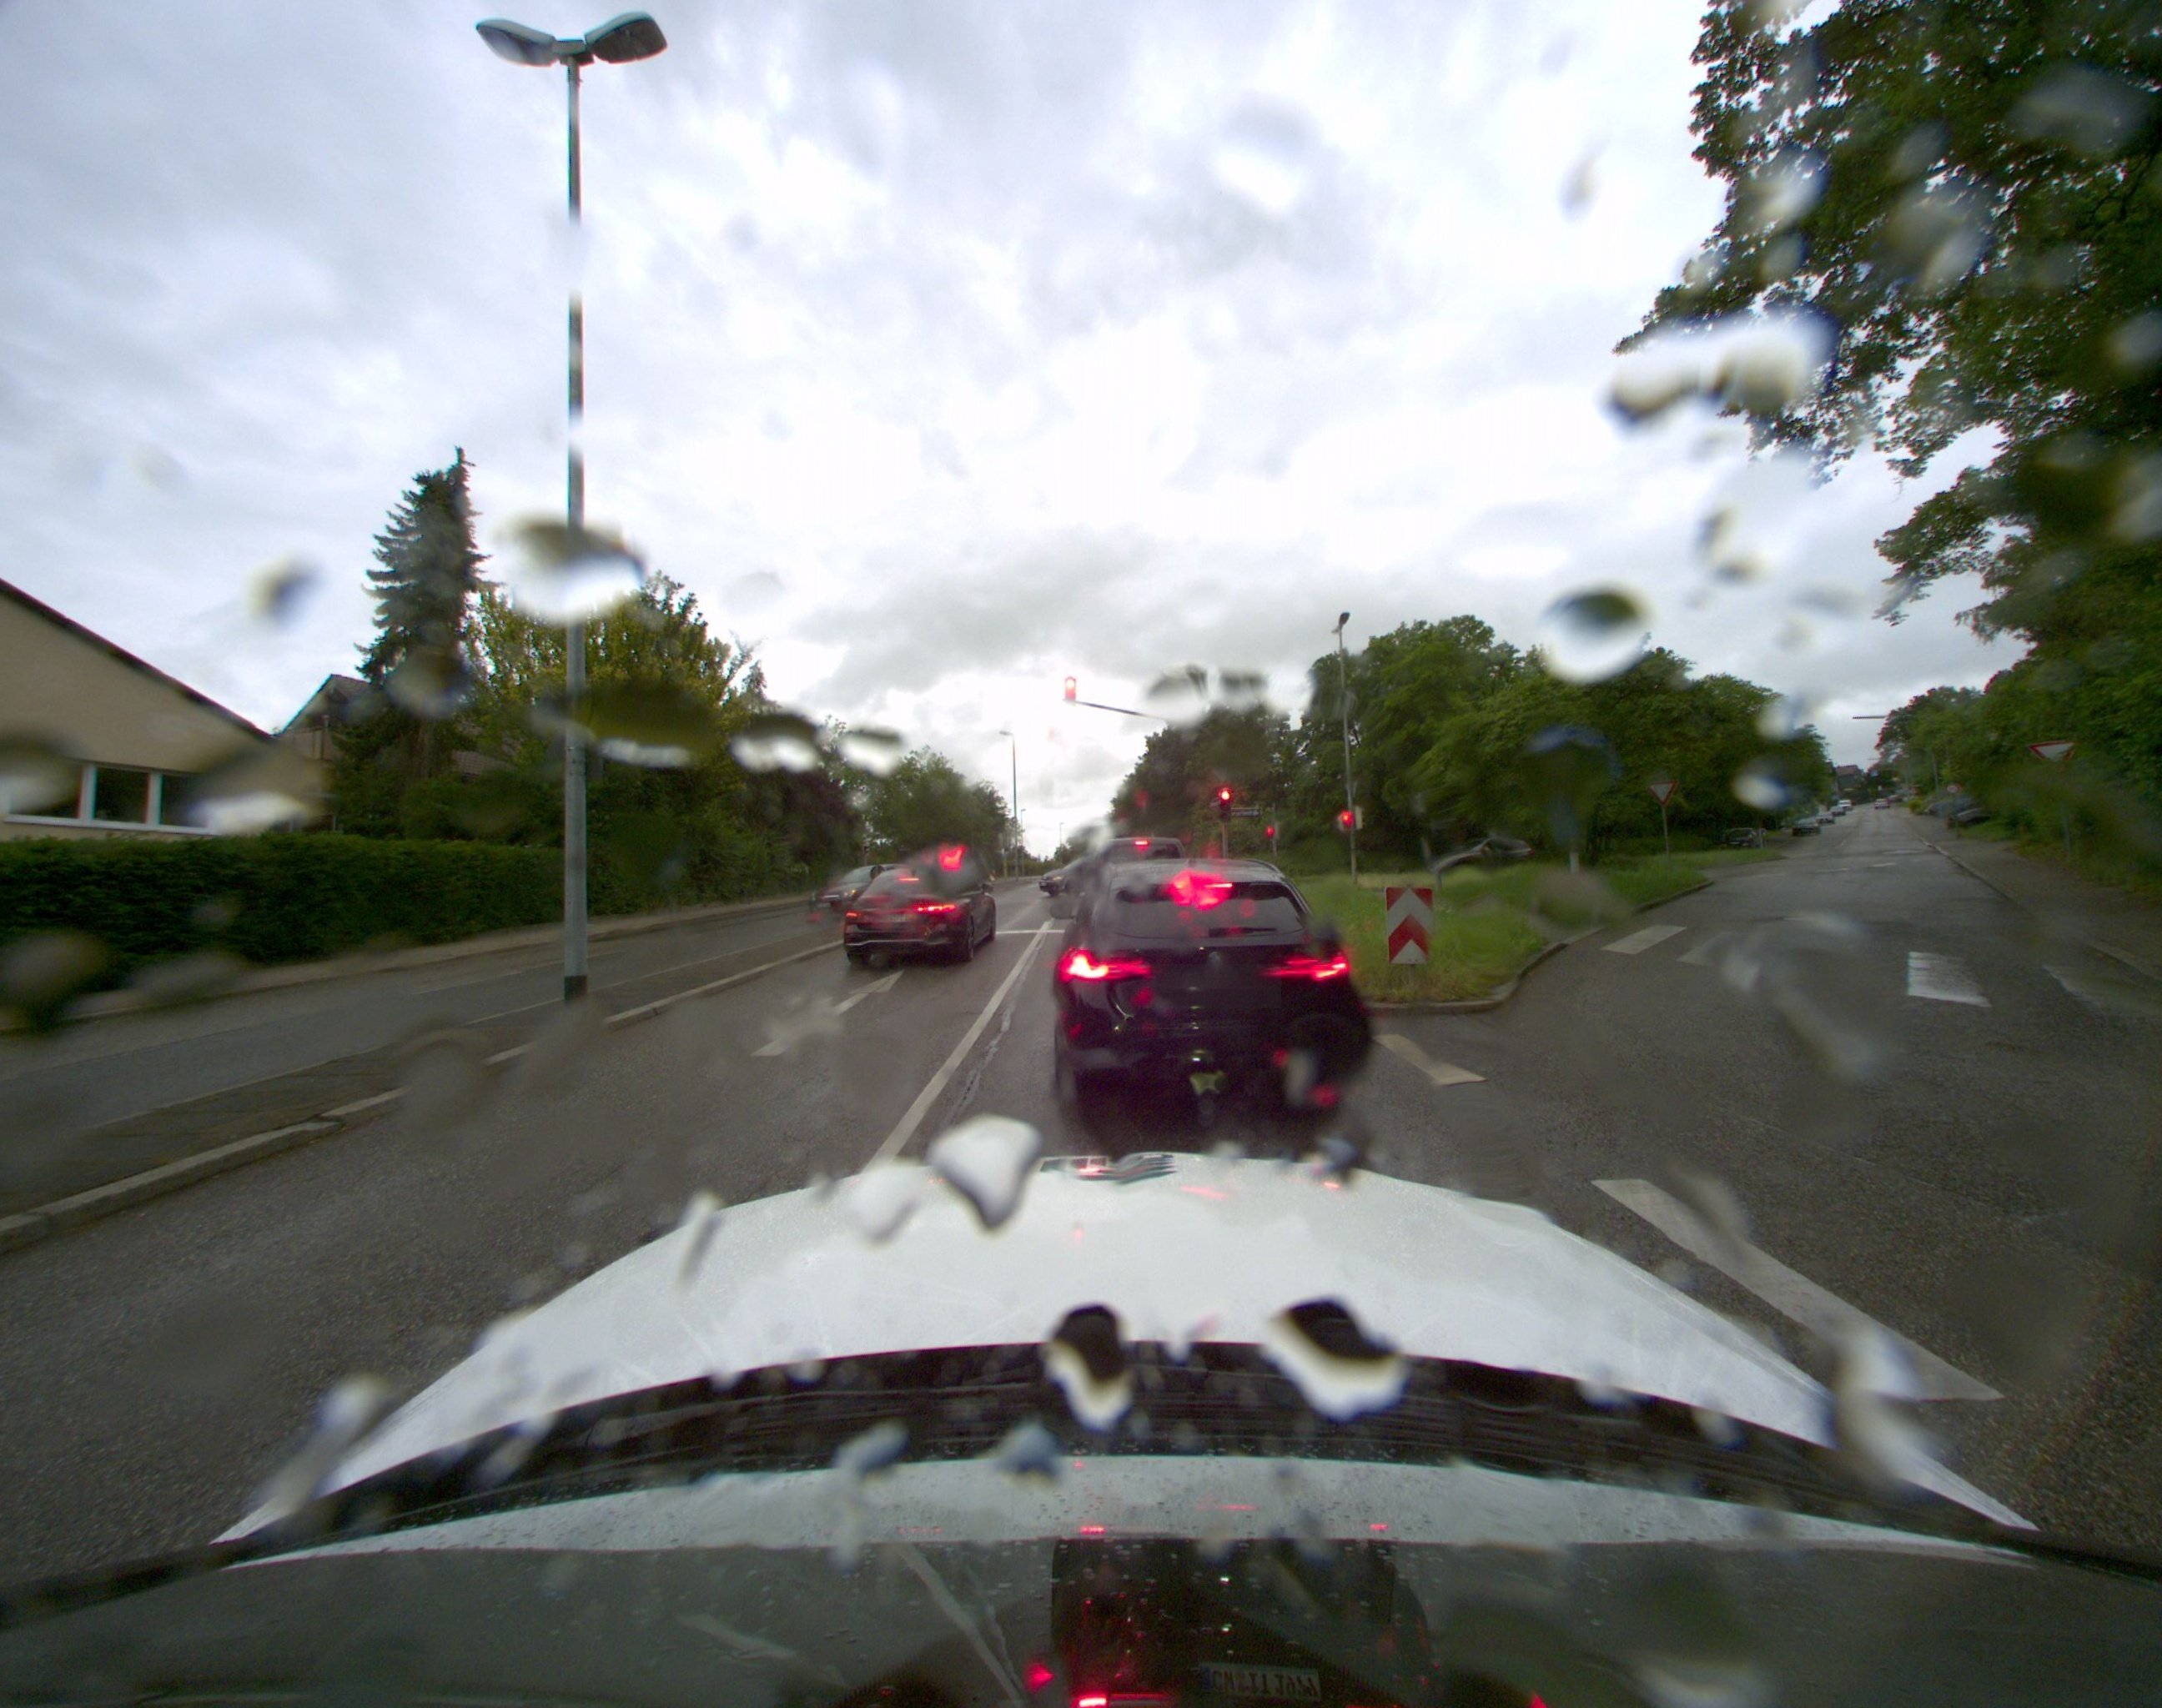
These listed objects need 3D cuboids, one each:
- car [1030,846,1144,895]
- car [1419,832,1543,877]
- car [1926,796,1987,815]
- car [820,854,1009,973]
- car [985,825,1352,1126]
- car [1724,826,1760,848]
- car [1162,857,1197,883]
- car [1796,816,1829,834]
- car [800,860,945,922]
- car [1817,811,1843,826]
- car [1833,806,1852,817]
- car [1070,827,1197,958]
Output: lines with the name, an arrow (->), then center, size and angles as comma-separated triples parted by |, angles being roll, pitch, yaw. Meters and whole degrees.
car -> 0.239, 0.627, 31.614 | 4.042, 1.602, 1.732 | -3, 0, -28
car -> 18.085, 0.019, 36.912 | 4.699, 1.717, 1.995 | -3, 0, -8
car -> 87.604, -4.829, 81.556 | 3.949, 1.574, 1.785 | -5, -2, 42
car -> -2.515, 0.851, 13.506 | 1.986, 1.527, 4.330 | -4, -1, 2
car -> 0.659, 0.687, 6.582 | 1.889, 1.551, 4.621 | -1, -1, 5
car -> 46.025, -1.201, 56.650 | 1.655, 1.370, 3.512 | -3, 0, 43
car -> 6.339, 1.029, 52.775 | 1.866, 1.543, 3.954 | -4, -1, 2
car -> 66.270, -2.619, 73.774 | 4.318, 1.450, 1.881 | 0, -2, -44
car -> -5.968, 1.020, 23.764 | 1.878, 1.509, 4.024 | -3, 0, 25
car -> 88.193, -4.176, 95.912 | 1.971, 1.446, 4.321 | -2, -1, 40
car -> 114.473, -6.376, 122.446 | 1.880, 1.397, 4.193 | -2, -1, 40
car -> 0.850, 0.585, 13.817 | 1.811, 1.868, 3.954 | -1, -1, 2
